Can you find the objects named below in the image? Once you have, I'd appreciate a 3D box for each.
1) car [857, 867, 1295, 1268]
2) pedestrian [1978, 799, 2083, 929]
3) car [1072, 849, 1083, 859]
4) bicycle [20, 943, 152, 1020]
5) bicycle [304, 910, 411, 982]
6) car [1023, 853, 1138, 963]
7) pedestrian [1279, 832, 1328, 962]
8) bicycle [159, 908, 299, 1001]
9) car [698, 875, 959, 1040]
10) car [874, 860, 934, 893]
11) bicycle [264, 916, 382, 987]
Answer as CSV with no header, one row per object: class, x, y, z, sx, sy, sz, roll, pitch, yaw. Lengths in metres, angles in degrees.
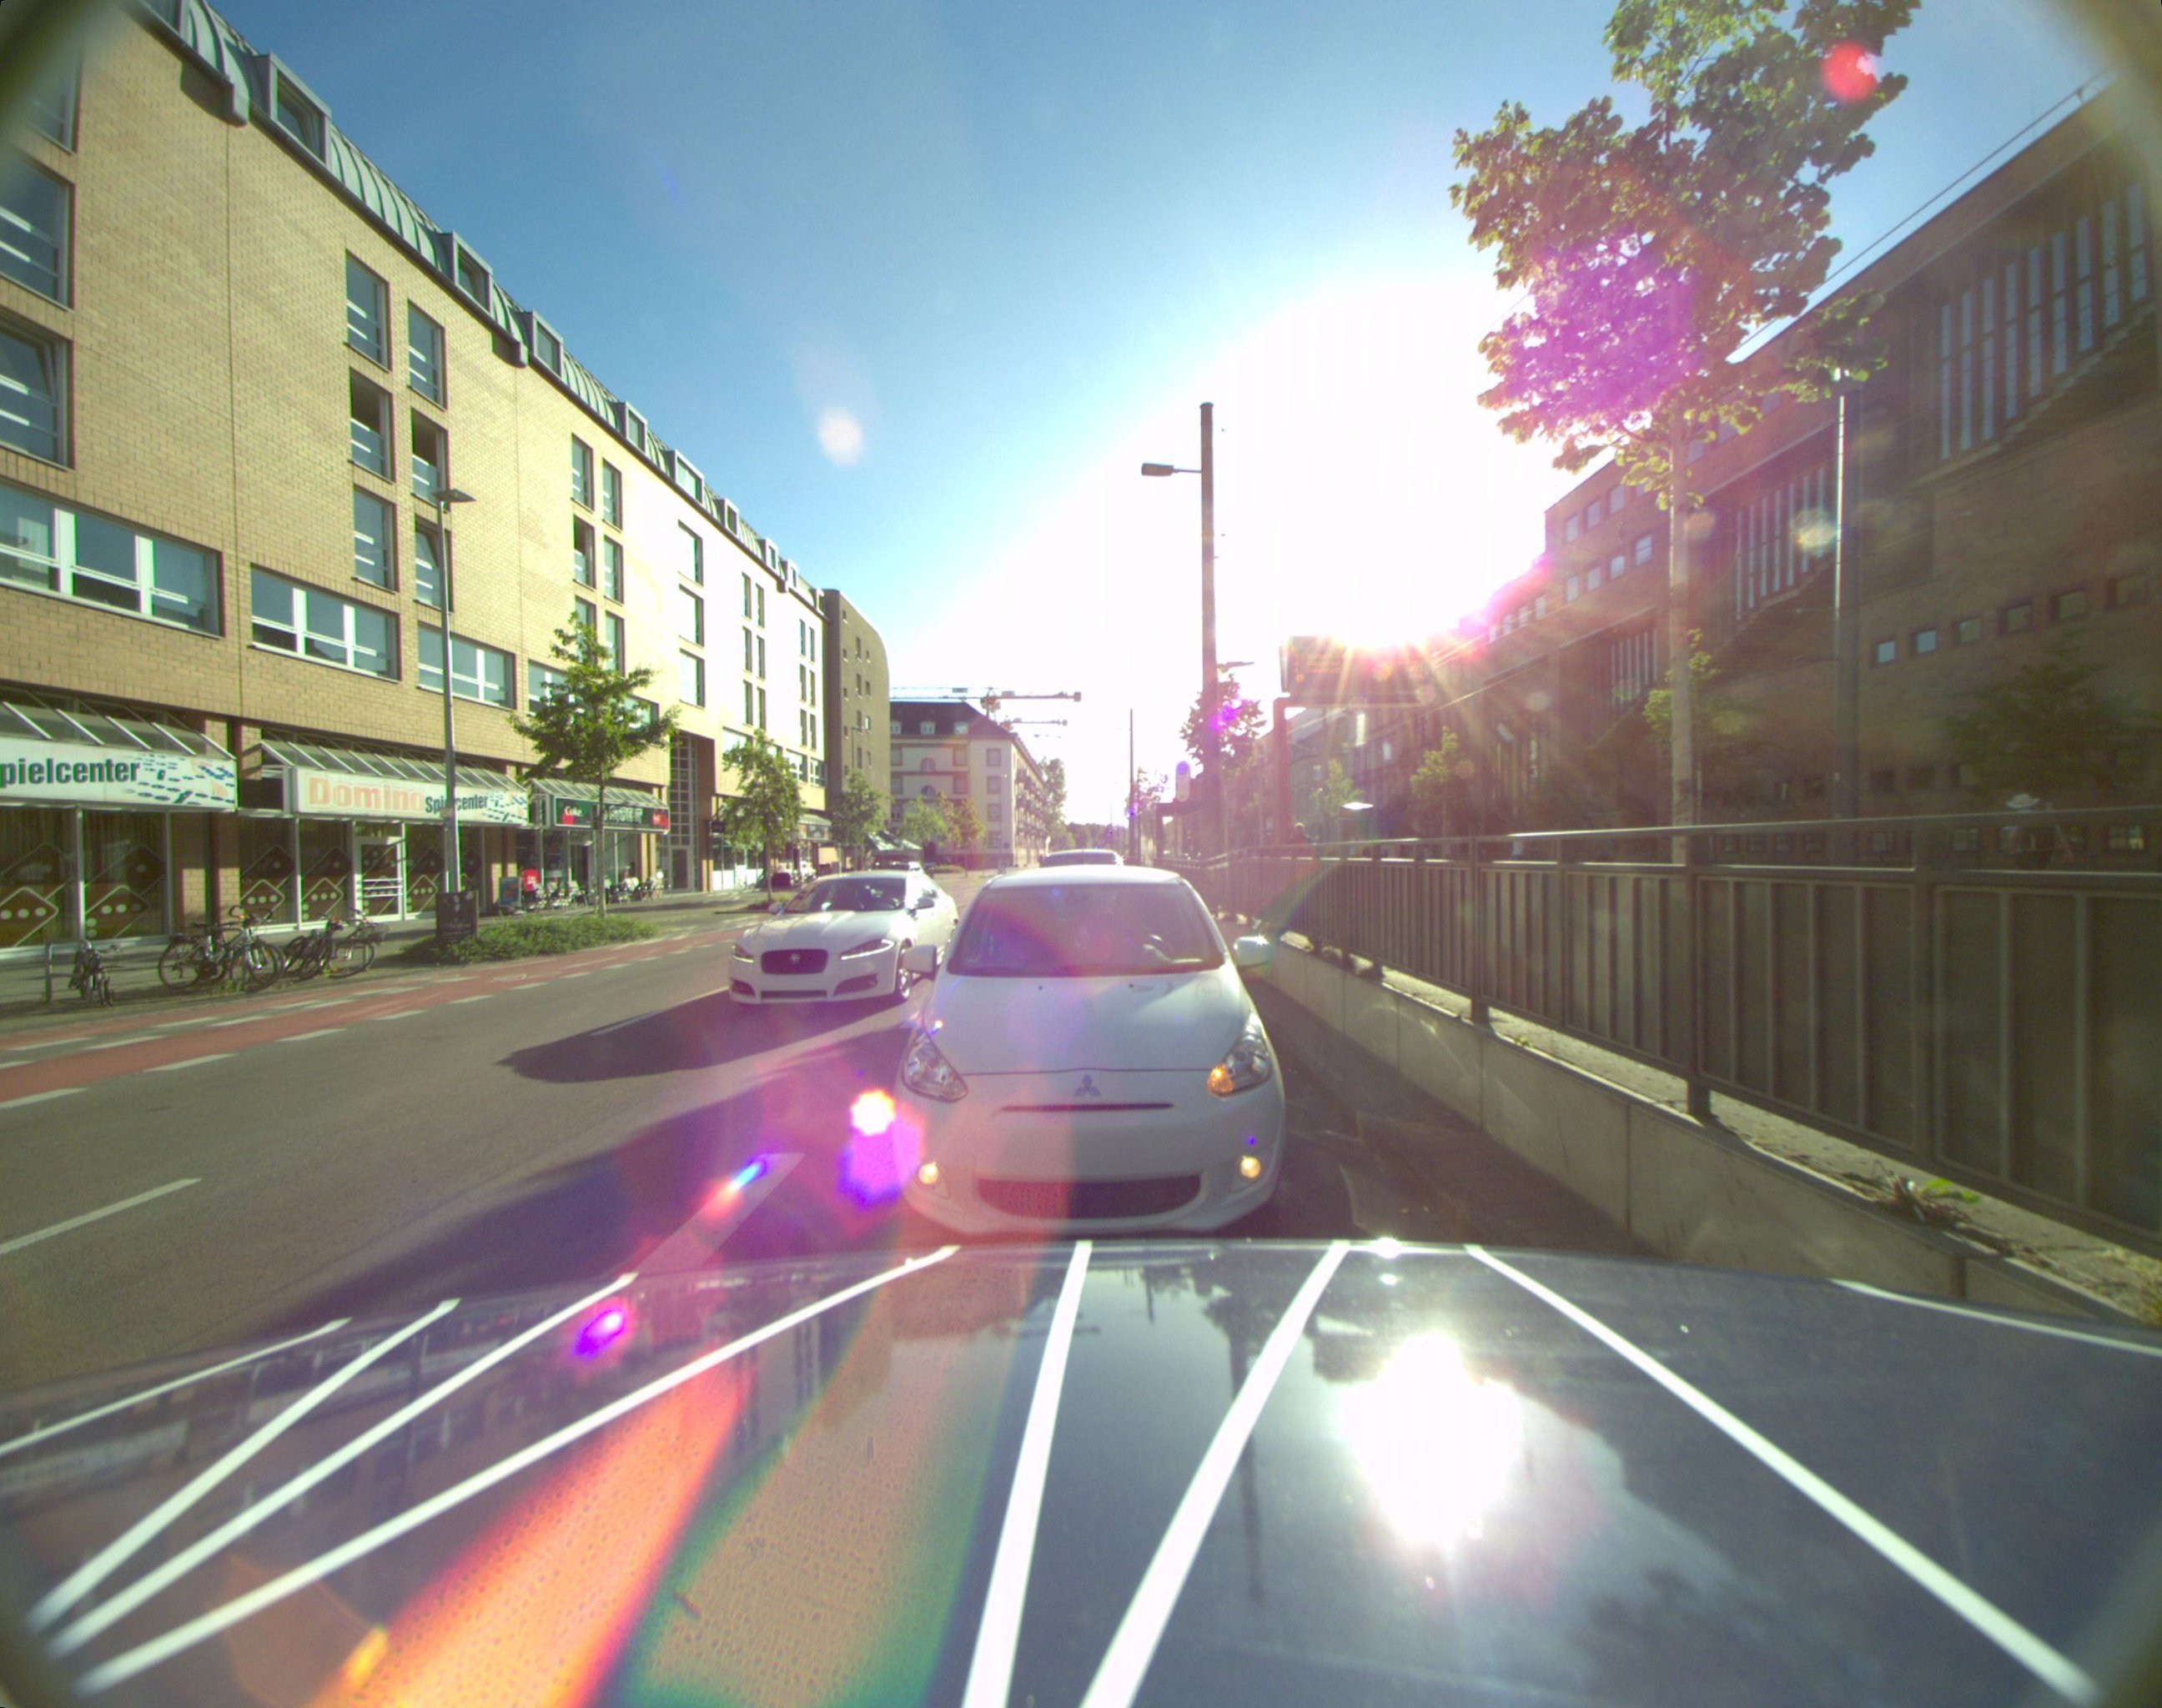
car,-0.019,0.905,5.195,1.720,1.422,4.215,-2,1,0
pedestrian,13.770,0.138,11.034,0.685,1.797,0.668,-2,2,0
car,-0.755,-0.024,163.036,2.164,1.904,4.472,-2,0,0
bicycle,-12.844,1.626,9.805,1.772,0.827,0.366,1,2,15
bicycle,-11.885,1.490,12.483,1.835,1.050,0.350,1,2,15
car,-0.011,0.845,13.992,1.720,1.591,4.215,-2,1,0
pedestrian,4.266,0.807,14.597,0.684,2.428,0.626,-2,2,-2
bicycle,-12.306,1.423,10.981,1.835,1.156,0.565,1,2,15
car,-2.795,1.063,9.581,1.808,1.421,4.452,-1,0,0
car,-9.662,1.187,41.771,1.778,1.630,4.002,1,1,9
bicycle,-12.004,1.525,12.031,1.835,0.980,0.449,1,2,15
